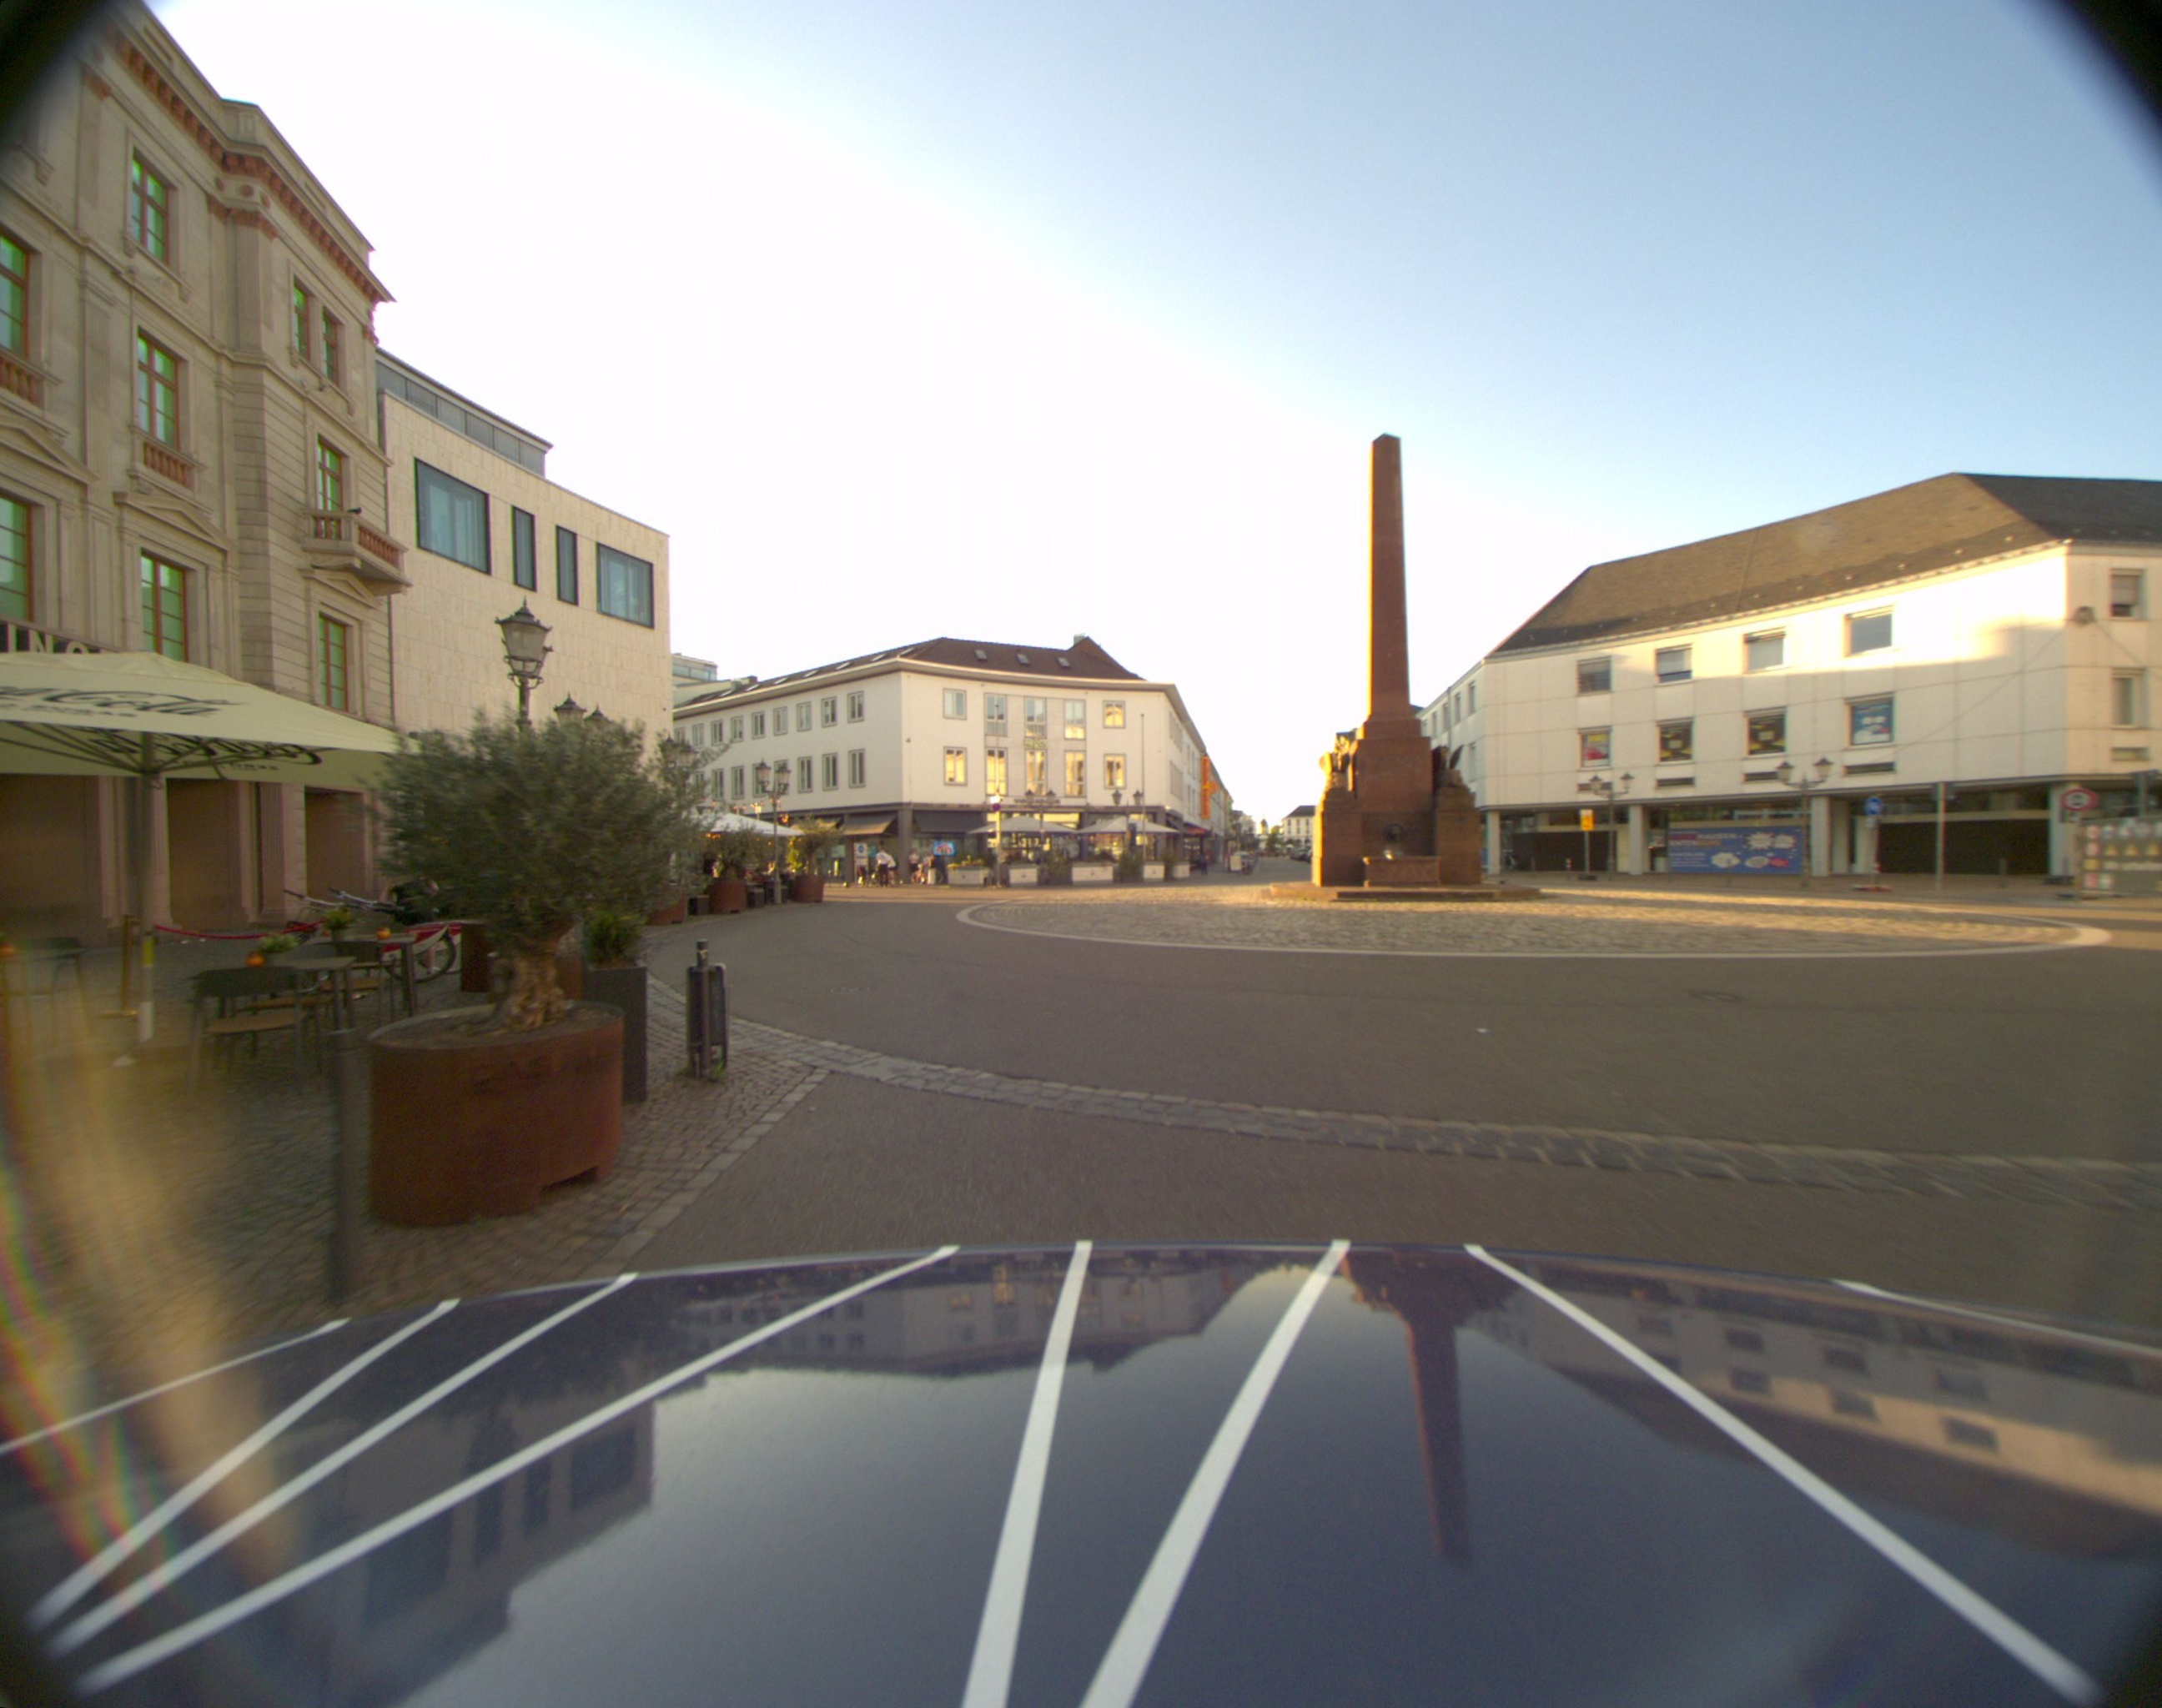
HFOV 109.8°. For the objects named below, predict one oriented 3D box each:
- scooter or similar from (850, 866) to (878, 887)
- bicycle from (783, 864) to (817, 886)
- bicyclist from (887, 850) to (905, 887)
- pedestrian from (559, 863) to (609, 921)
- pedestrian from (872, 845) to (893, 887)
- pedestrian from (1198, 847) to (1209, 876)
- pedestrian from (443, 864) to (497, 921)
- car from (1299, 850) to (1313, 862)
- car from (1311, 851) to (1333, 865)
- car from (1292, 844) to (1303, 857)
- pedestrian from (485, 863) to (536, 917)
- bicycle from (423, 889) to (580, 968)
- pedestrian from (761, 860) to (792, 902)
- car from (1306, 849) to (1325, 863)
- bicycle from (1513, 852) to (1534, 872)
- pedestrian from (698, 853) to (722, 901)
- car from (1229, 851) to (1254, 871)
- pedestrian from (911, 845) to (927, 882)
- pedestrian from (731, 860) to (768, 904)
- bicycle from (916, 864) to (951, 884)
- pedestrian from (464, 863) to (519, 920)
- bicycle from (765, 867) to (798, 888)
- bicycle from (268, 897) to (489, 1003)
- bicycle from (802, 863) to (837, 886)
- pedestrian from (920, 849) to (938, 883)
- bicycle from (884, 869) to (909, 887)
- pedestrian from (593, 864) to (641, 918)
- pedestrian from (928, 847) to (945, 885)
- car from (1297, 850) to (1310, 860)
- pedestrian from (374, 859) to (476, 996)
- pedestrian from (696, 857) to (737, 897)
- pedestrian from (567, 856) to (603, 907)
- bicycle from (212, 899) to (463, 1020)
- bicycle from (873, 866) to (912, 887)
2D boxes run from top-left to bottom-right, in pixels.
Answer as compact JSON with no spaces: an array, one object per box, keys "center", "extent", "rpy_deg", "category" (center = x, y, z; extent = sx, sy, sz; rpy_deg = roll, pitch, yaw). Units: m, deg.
[{"center":[-10.477,1.084,36.779],"extent":[0.486,1.005,1.207],"rpy_deg":[0,1,44],"category":"scooter or similar"},{"center":[-14.758,1.094,39.917],"extent":[1.959,1.135,0.523],"rpy_deg":[-1,1,31],"category":"bicycle"},{"center":[-8.960,0.700,36.859],"extent":[0.481,1.733,0.836],"rpy_deg":[-1,1,16],"category":"bicyclist"},{"center":[-12.943,0.975,19.775],"extent":[0.721,1.439,0.867],"rpy_deg":[-1,1,37],"category":"pedestrian"},{"center":[-9.218,0.546,35.338],"extent":[0.643,1.917,0.629],"rpy_deg":[0,1,37],"category":"pedestrian"},{"center":[7.408,0.438,45.828],"extent":[0.603,1.691,0.714],"rpy_deg":[-1,1,8],"category":"pedestrian"},{"center":[-16.097,1.004,20.016],"extent":[0.773,1.439,0.854],"rpy_deg":[-1,1,29],"category":"pedestrian"},{"center":[34.631,0.284,116.934],"extent":[1.779,1.657,4.333],"rpy_deg":[-1,0,14],"category":"car"},{"center":[25.388,0.404,80.159],"extent":[1.779,1.483,4.332],"rpy_deg":[-1,0,12],"category":"car"},{"center":[40.106,-0.676,141.050],"extent":[1.779,2.214,4.333],"rpy_deg":[-1,0,14],"category":"car"},{"center":[-15.693,0.968,20.921],"extent":[0.773,1.439,0.854],"rpy_deg":[-1,1,29],"category":"pedestrian"},{"center":[-9.064,1.130,11.945],"extent":[1.910,1.121,0.606],"rpy_deg":[1,-1,-41],"category":"bicycle"},{"center":[-10.665,0.922,26.595],"extent":[0.721,1.439,0.695],"rpy_deg":[-1,1,37],"category":"pedestrian"},{"center":[28.718,0.172,92.980],"extent":[1.779,1.657,4.332],"rpy_deg":[-1,0,12],"category":"car"},{"center":[25.726,0.467,44.194],"extent":[0.480,1.149,1.951],"rpy_deg":[-1,0,13],"category":"bicycle"},{"center":[-13.672,0.832,28.009],"extent":[0.711,1.737,0.715],"rpy_deg":[-1,1,-23],"category":"pedestrian"},{"center":[12.178,0.514,57.432],"extent":[1.779,1.416,3.964],"rpy_deg":[-1,0,13],"category":"car"},{"center":[-8.301,0.486,38.841],"extent":[0.579,1.912,0.543],"rpy_deg":[-1,1,15],"category":"pedestrian"},{"center":[-11.263,0.933,25.823],"extent":[0.721,1.439,0.867],"rpy_deg":[-1,1,37],"category":"pedestrian"},{"center":[-7.267,1.001,37.521],"extent":[1.680,0.928,0.473],"rpy_deg":[-1,1,-40],"category":"bicycle"},{"center":[-15.283,0.957,19.706],"extent":[0.773,1.439,0.854],"rpy_deg":[-1,1,27],"category":"pedestrian"},{"center":[-16.152,1.254,40.970],"extent":[1.959,1.135,0.523],"rpy_deg":[0,1,31],"category":"bicycle"},{"center":[-8.549,1.115,9.340],"extent":[0.605,1.121,1.910],"rpy_deg":[0,-1,38],"category":"bicycle"},{"center":[-13.303,1.058,38.700],"extent":[1.959,1.135,0.523],"rpy_deg":[-1,1,31],"category":"bicycle"},{"center":[-7.692,0.594,38.476],"extent":[0.619,1.667,0.734],"rpy_deg":[-1,1,15],"category":"pedestrian"},{"center":[-8.948,1.150,36.874],"extent":[0.481,0.843,1.485],"rpy_deg":[-1,0,16],"category":"bicycle"},{"center":[-12.655,0.992,20.724],"extent":[0.721,1.439,0.867],"rpy_deg":[-1,1,37],"category":"pedestrian"},{"center":[-7.113,0.583,37.353],"extent":[0.508,1.807,0.719],"rpy_deg":[-1,1,15],"category":"pedestrian"},{"center":[35.978,0.146,122.893],"extent":[1.779,1.657,4.333],"rpy_deg":[-1,0,14],"category":"car"},{"center":[-8.006,0.861,9.284],"extent":[0.748,1.579,0.716],"rpy_deg":[-1,0,31],"category":"pedestrian"},{"center":[-13.483,0.843,28.096],"extent":[0.969,1.439,0.947],"rpy_deg":[-1,1,29],"category":"pedestrian"},{"center":[-17.092,0.936,26.186],"extent":[0.708,1.737,0.717],"rpy_deg":[-1,1,19],"category":"pedestrian"},{"center":[-8.116,1.089,8.390],"extent":[0.605,1.121,1.910],"rpy_deg":[0,-1,38],"category":"bicycle"},{"center":[-8.785,1.023,35.457],"extent":[1.680,0.928,0.473],"rpy_deg":[-1,1,-40],"category":"bicycle"}]
